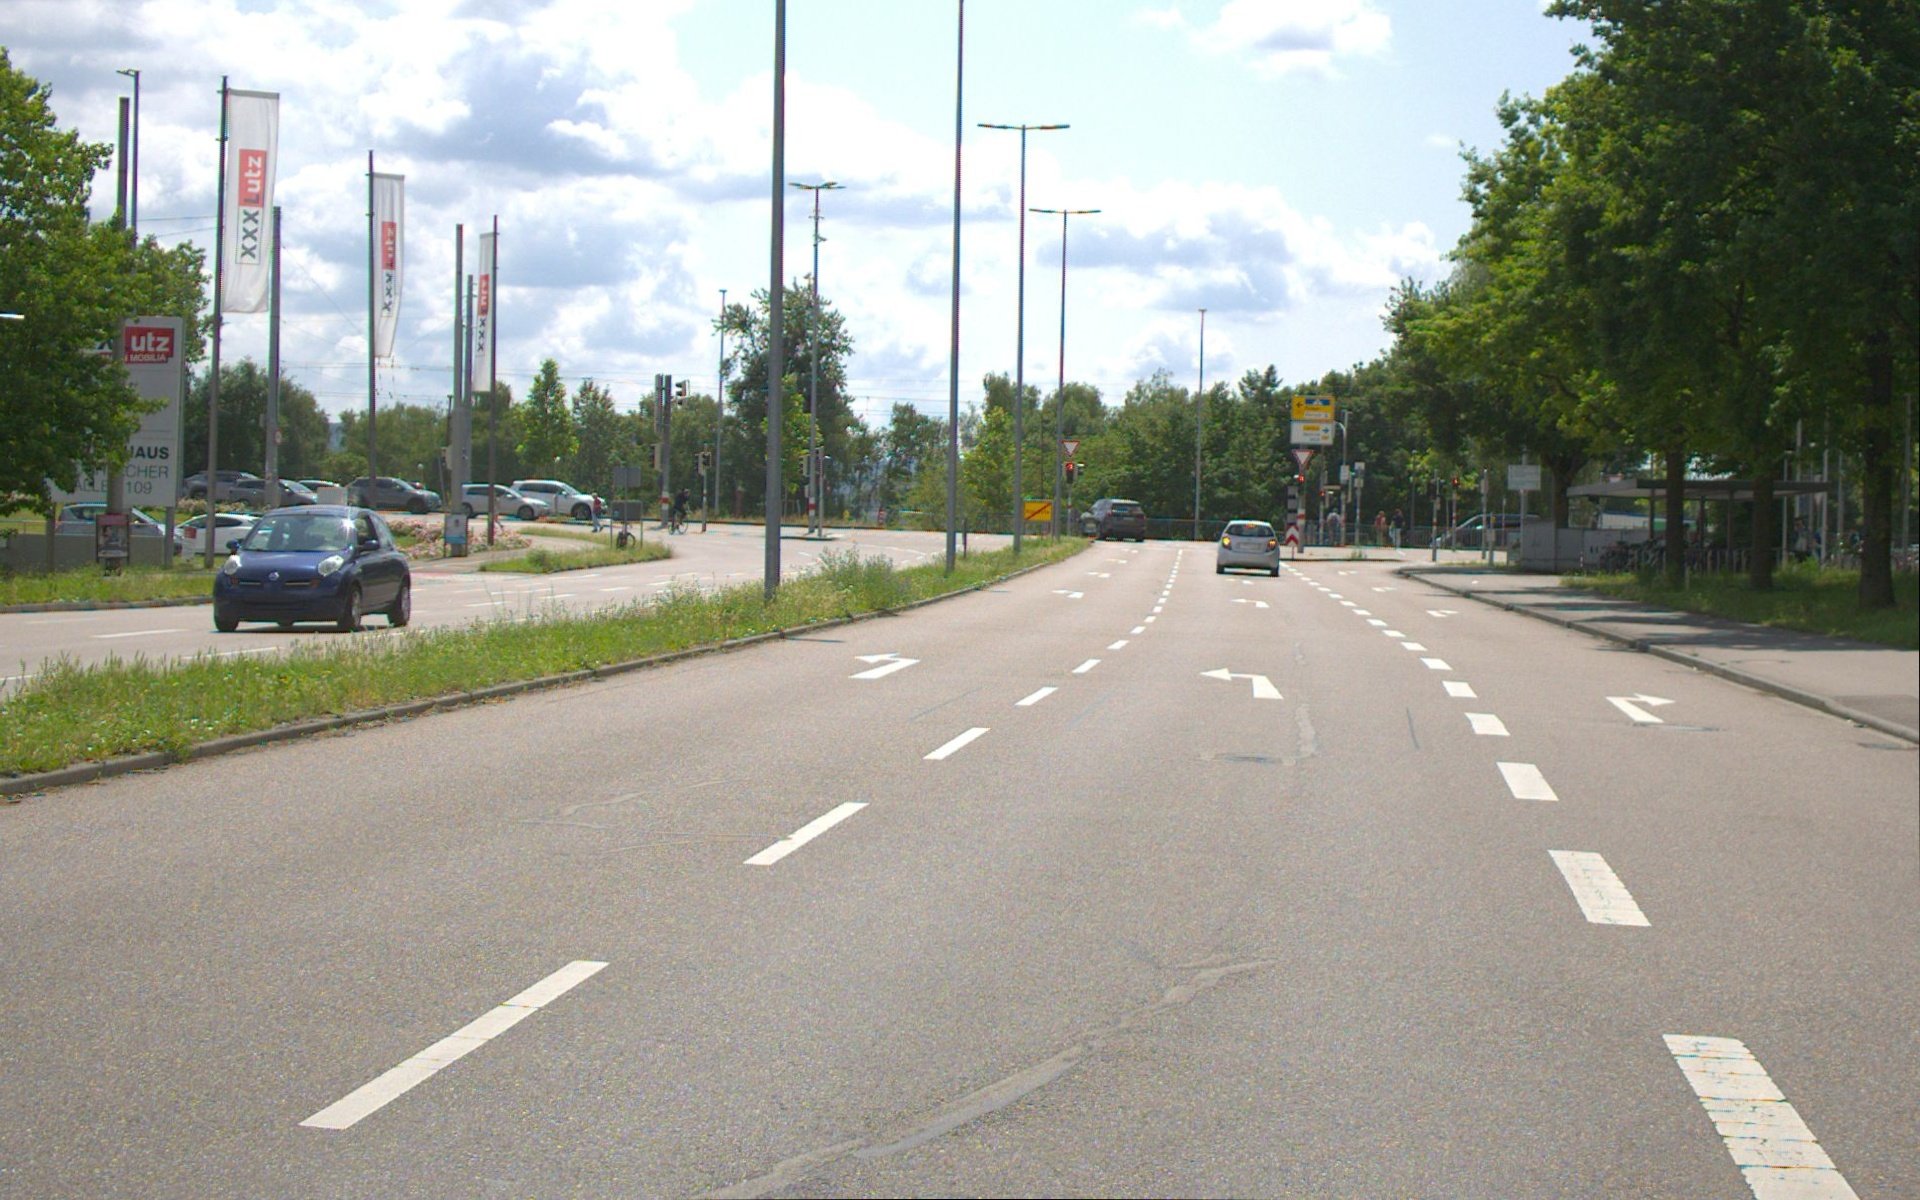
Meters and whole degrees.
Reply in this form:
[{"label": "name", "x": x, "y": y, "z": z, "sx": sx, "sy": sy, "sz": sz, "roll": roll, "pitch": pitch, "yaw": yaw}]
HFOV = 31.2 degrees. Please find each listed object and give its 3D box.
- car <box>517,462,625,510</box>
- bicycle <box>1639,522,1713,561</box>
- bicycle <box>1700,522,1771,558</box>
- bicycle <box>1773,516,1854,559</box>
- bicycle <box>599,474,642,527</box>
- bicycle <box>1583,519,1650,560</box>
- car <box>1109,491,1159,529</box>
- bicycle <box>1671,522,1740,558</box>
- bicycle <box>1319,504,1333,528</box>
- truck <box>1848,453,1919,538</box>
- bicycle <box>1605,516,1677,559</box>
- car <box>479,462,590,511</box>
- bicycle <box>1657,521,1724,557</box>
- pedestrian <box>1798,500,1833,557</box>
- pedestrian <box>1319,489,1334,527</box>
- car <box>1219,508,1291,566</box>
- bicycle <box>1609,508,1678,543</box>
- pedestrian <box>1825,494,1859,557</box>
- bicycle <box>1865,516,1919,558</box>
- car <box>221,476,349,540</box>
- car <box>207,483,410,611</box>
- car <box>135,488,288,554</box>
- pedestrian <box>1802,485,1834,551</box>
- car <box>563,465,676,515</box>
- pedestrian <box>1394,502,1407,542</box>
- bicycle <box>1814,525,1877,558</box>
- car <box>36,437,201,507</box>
[{"label": "car", "x": -16.879, "y": -4.934, "z": 149.435, "sx": 4.349, "sy": 1.982, "sz": 2.000, "roll": 1, "pitch": 1, "yaw": 3}, {"label": "bicycle", "x": 18.910, "y": -1.550, "z": 90.829, "sx": 1.862, "sy": 0.991, "sz": 0.424, "roll": 0, "pitch": 2, "yaw": 0}, {"label": "bicycle", "x": 21.384, "y": -1.660, "z": 94.758, "sx": 1.862, "sy": 0.991, "sz": 0.424, "roll": 0, "pitch": 1, "yaw": 0}, {"label": "bicycle", "x": 22.251, "y": -1.630, "z": 89.627, "sx": 2.013, "sy": 1.104, "sz": 0.576, "roll": 1, "pitch": 1, "yaw": 42}, {"label": "bicycle", "x": -10.916, "y": -3.187, "z": 110.450, "sx": 1.017, "sy": 1.669, "sz": 2.048, "roll": 1, "pitch": 2, "yaw": 4}, {"label": "bicycle", "x": 19.458, "y": -1.800, "z": 101.905, "sx": 1.862, "sy": 1.183, "sz": 0.424, "roll": 1, "pitch": 2, "yaw": 0}, {"label": "car", "x": 7.405, "y": -3.838, "z": 146.634, "sx": 1.894, "sy": 1.464, "sz": 3.834, "roll": 3, "pitch": 2, "yaw": 0}, {"label": "bicycle", "x": 21.282, "y": -1.716, "z": 98.102, "sx": 1.862, "sy": 0.991, "sz": 0.424, "roll": 1, "pitch": 0, "yaw": 0}, {"label": "bicycle", "x": 16.998, "y": -3.924, "z": 159.669, "sx": 0.619, "sy": 1.083, "sz": 1.722, "roll": 2, "pitch": 2, "yaw": 6}, {"label": "truck", "x": 50.478, "y": -5.040, "z": 170.644, "sx": 11.960, "sy": 4.090, "sz": 2.952, "roll": 2, "pitch": 2, "yaw": 5}, {"label": "bicycle", "x": 18.777, "y": -1.727, "z": 94.775, "sx": 1.896, "sy": 1.166, "sz": 0.424, "roll": 0, "pitch": 2, "yaw": 6}, {"label": "car", "x": -18.138, "y": -4.847, "z": 146.614, "sx": 4.349, "sy": 1.982, "sz": 2.000, "roll": 1, "pitch": 1, "yaw": 3}, {"label": "bicycle", "x": 21.399, "y": -1.794, "z": 100.663, "sx": 1.862, "sy": 1.030, "sz": 0.424, "roll": 1, "pitch": 2, "yaw": 6}, {"label": "pedestrian", "x": 28.968, "y": -2.416, "z": 116.398, "sx": 1.008, "sy": 1.896, "sz": 0.973, "roll": 2, "pitch": -1, "yaw": 18}, {"label": "pedestrian", "x": 17.008, "y": -4.281, "z": 159.623, "sx": 0.611, "sy": 1.762, "sz": 0.672, "roll": 2, "pitch": 2, "yaw": 6}, {"label": "car", "x": 8.216, "y": -1.765, "z": 96.002, "sx": 1.894, "sy": 1.464, "sz": 3.833, "roll": 3, "pitch": 2, "yaw": 4}, {"label": "bicycle", "x": 19.563, "y": -2.144, "z": 98.416, "sx": 1.862, "sy": 0.991, "sz": 0.424, "roll": 0, "pitch": 2, "yaw": 0}, {"label": "pedestrian", "x": 30.004, "y": -2.535, "z": 116.981, "sx": 1.008, "sy": 2.065, "sz": 0.973, "roll": 2, "pitch": -1, "yaw": 18}, {"label": "bicycle", "x": 27.395, "y": -1.831, "z": 99.780, "sx": 2.141, "sy": 1.225, "sz": 0.720, "roll": 1, "pitch": 2, "yaw": 14}, {"label": "car", "x": -22.267, "y": -3.030, "z": 113.524, "sx": 3.986, "sy": 2.007, "sz": 2.001, "roll": 1, "pitch": 2, "yaw": -6}, {"label": "car", "x": -7.963, "y": -0.683, "z": 42.287, "sx": 1.739, "sy": 1.470, "sz": 3.676, "roll": 1, "pitch": 2, "yaw": 1}, {"label": "car", "x": -23.778, "y": -2.514, "z": 109.315, "sx": 4.349, "sy": 1.982, "sz": 2.000, "roll": 1, "pitch": 1, "yaw": 3}, {"label": "pedestrian", "x": 22.463, "y": -2.154, "z": 90.037, "sx": 0.634, "sy": 1.716, "sz": 0.523, "roll": 1, "pitch": 0, "yaw": 40}, {"label": "car", "x": -14.068, "y": -4.536, "z": 142.211, "sx": 4.349, "sy": 1.982, "sz": 2.000, "roll": 1, "pitch": 1, "yaw": 3}, {"label": "pedestrian", "x": 19.308, "y": -3.417, "z": 150.715, "sx": 0.523, "sy": 1.715, "sz": 0.730, "roll": 1, "pitch": 2, "yaw": 8}, {"label": "bicycle", "x": 28.152, "y": -1.857, "z": 109.275, "sx": 1.862, "sy": 0.991, "sz": 0.424, "roll": 1, "pitch": 2, "yaw": 6}, {"label": "car", "x": -24.982, "y": -3.794, "z": 102.171, "sx": 4.349, "sy": 1.982, "sz": 2.000, "roll": 1, "pitch": 1, "yaw": 3}]
